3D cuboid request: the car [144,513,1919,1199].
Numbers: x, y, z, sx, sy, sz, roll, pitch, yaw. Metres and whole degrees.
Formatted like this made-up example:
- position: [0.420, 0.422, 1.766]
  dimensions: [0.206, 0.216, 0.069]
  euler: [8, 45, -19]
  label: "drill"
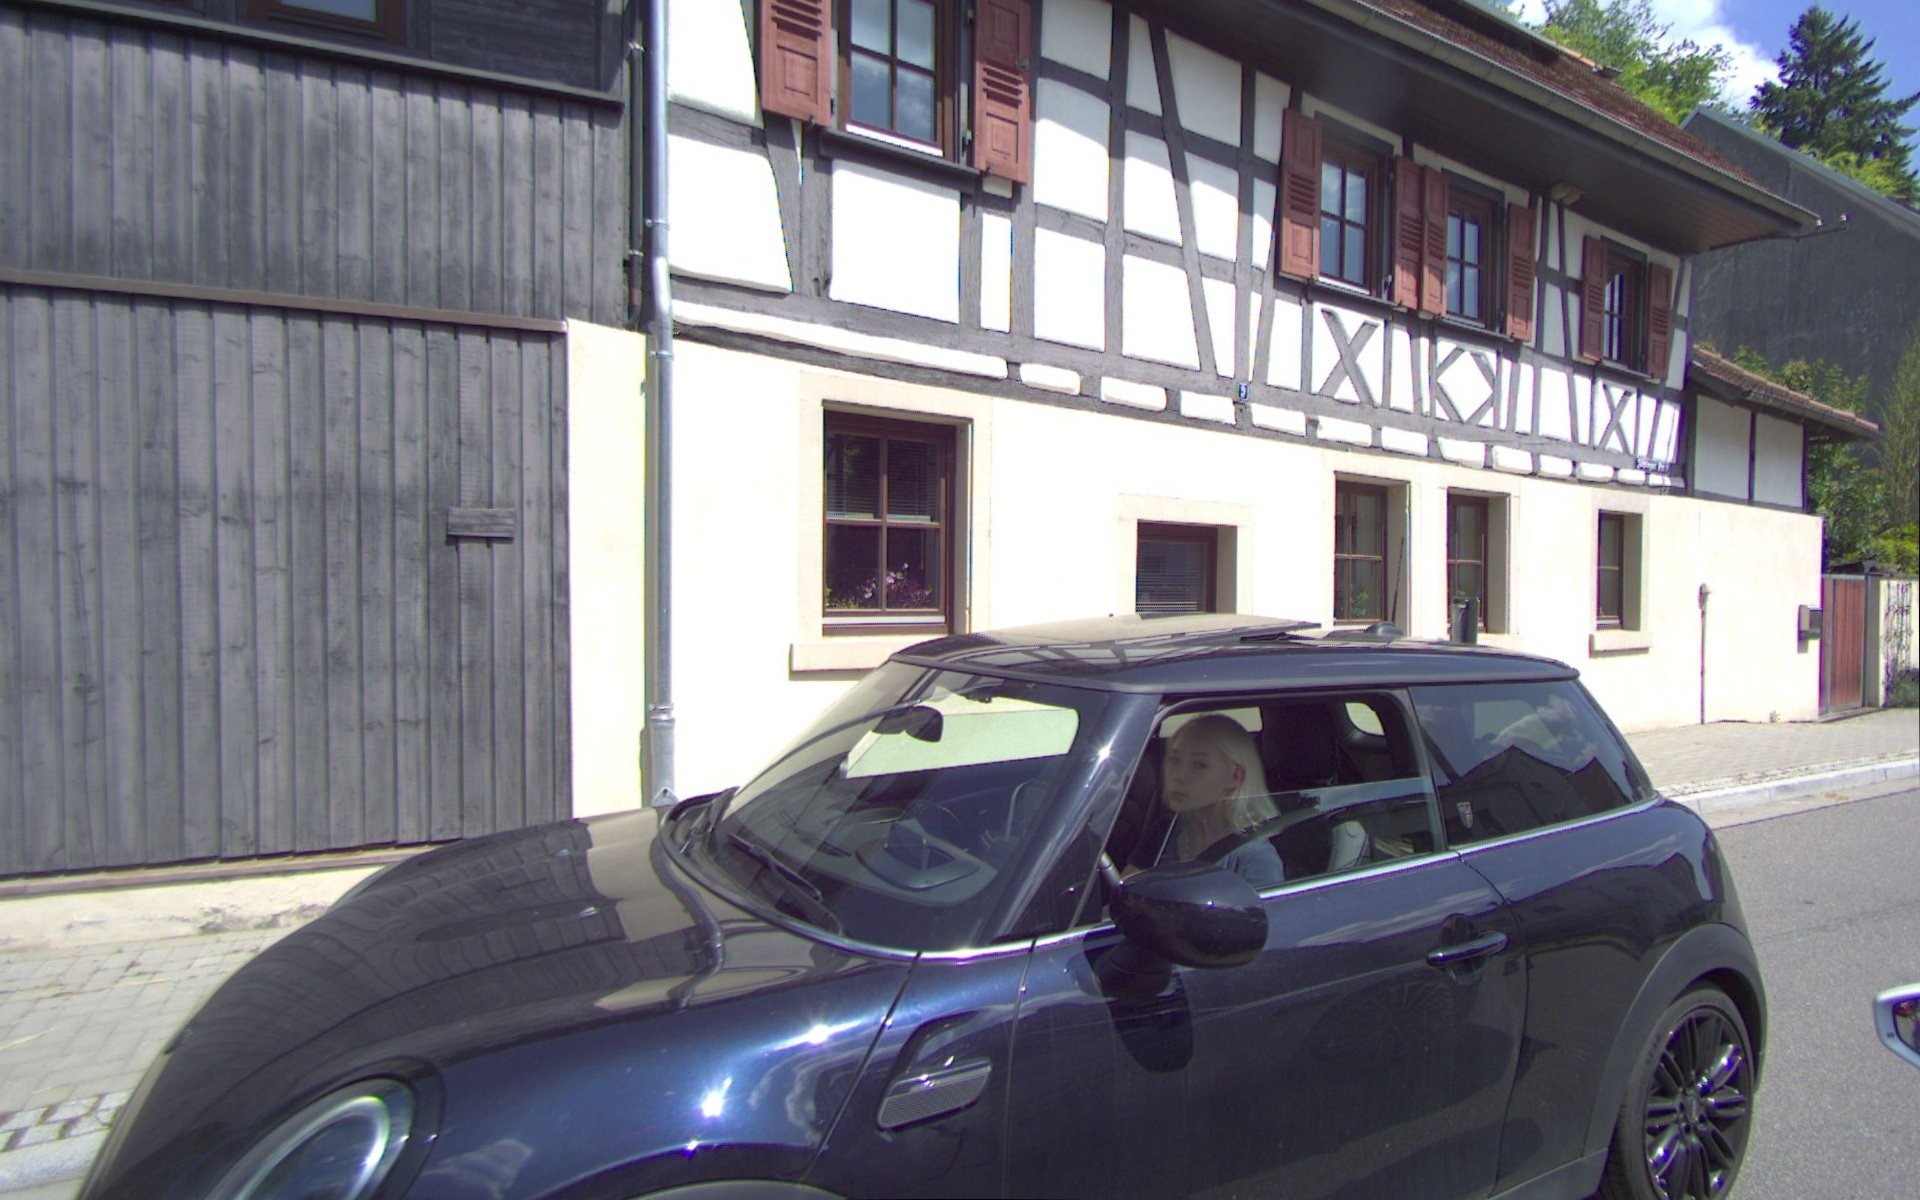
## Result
- position: [0.773, 0.701, 2.730]
  dimensions: [4.380, 1.485, 1.691]
  euler: [2, 1, -29]
  label: "car"
